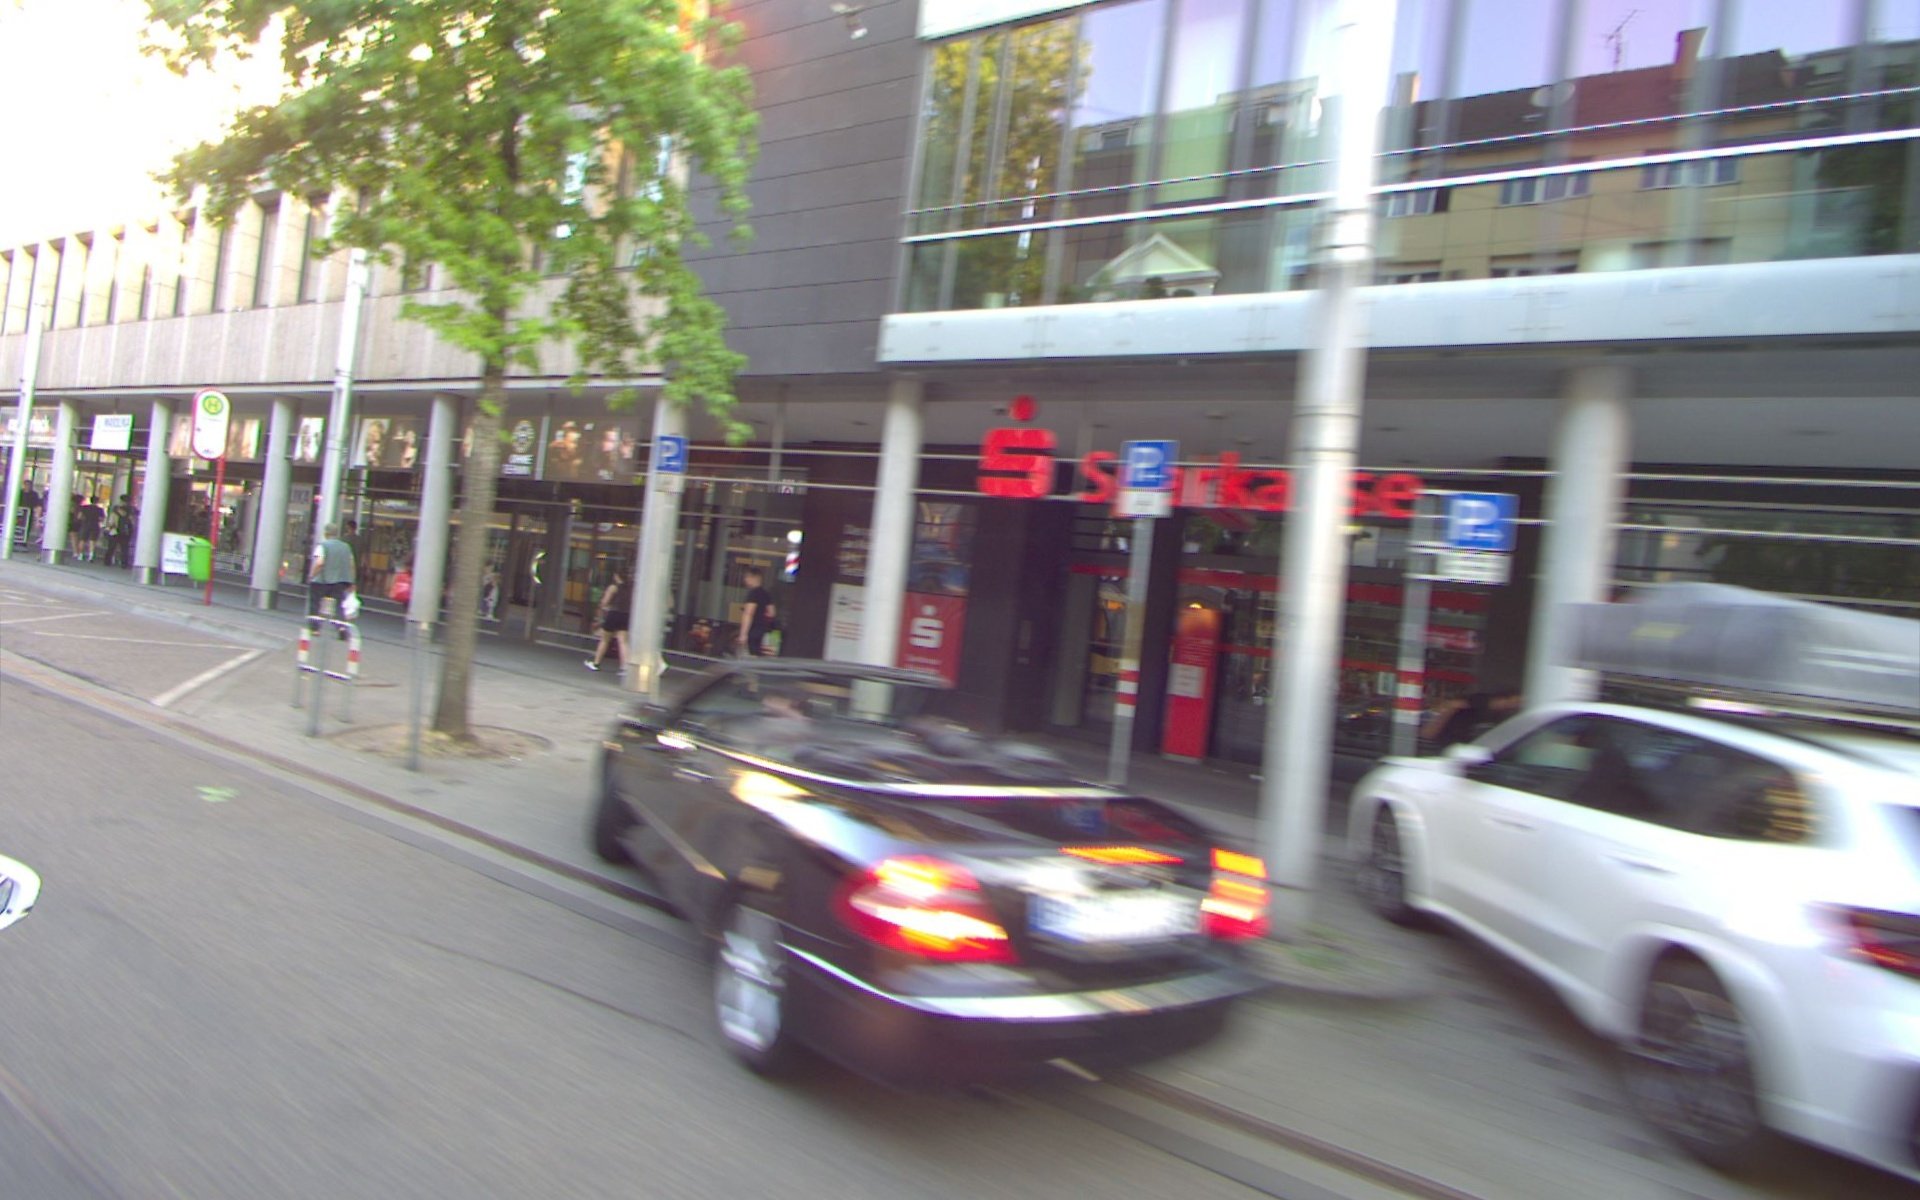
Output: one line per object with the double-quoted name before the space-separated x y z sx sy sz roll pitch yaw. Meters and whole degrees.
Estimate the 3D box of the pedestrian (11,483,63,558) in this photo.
"pedestrian" -24.673 -2.112 26.892 0.815 1.863 0.701 8 2 31

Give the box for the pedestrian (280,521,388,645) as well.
"pedestrian" -8.973 -0.236 14.438 0.742 1.599 0.879 8 -1 30

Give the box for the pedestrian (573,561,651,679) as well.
"pedestrian" -5.140 0.295 14.868 0.742 1.637 0.597 8 2 30

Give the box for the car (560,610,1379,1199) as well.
"car" -0.547 0.970 4.796 1.788 1.364 4.411 8 -1 -30

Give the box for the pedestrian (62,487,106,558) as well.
"pedestrian" -24.584 -2.184 28.241 0.815 1.863 0.596 8 2 31

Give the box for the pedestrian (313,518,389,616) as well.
"pedestrian" -12.549 -0.666 20.744 0.928 1.859 0.833 8 1 31

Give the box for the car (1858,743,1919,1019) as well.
"car" 6.038 1.679 3.770 1.828 1.476 4.184 6 1 8

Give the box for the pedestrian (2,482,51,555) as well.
"pedestrian" -25.687 -2.233 27.682 0.694 1.863 0.701 8 2 31

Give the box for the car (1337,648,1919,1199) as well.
"car" 3.687 1.302 4.923 1.885 1.659 4.204 7 1 -1

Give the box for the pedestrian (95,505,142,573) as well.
"pedestrian" -21.710 -1.564 25.956 0.815 1.637 0.596 8 2 31

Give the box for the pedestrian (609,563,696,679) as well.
"pedestrian" -4.717 0.323 15.450 1.004 1.637 0.597 8 2 30

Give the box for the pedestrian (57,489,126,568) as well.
"pedestrian" -23.150 -1.891 26.819 0.913 1.901 1.054 8 2 31

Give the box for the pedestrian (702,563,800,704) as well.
"pedestrian" -2.867 0.462 13.844 0.742 1.805 0.878 8 2 30

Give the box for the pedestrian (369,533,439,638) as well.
"pedestrian" -9.279 -0.238 16.803 0.743 1.637 0.596 8 2 31

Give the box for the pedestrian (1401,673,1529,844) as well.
"pedestrian" 5.141 1.576 10.241 0.957 1.545 0.660 6 -1 33
